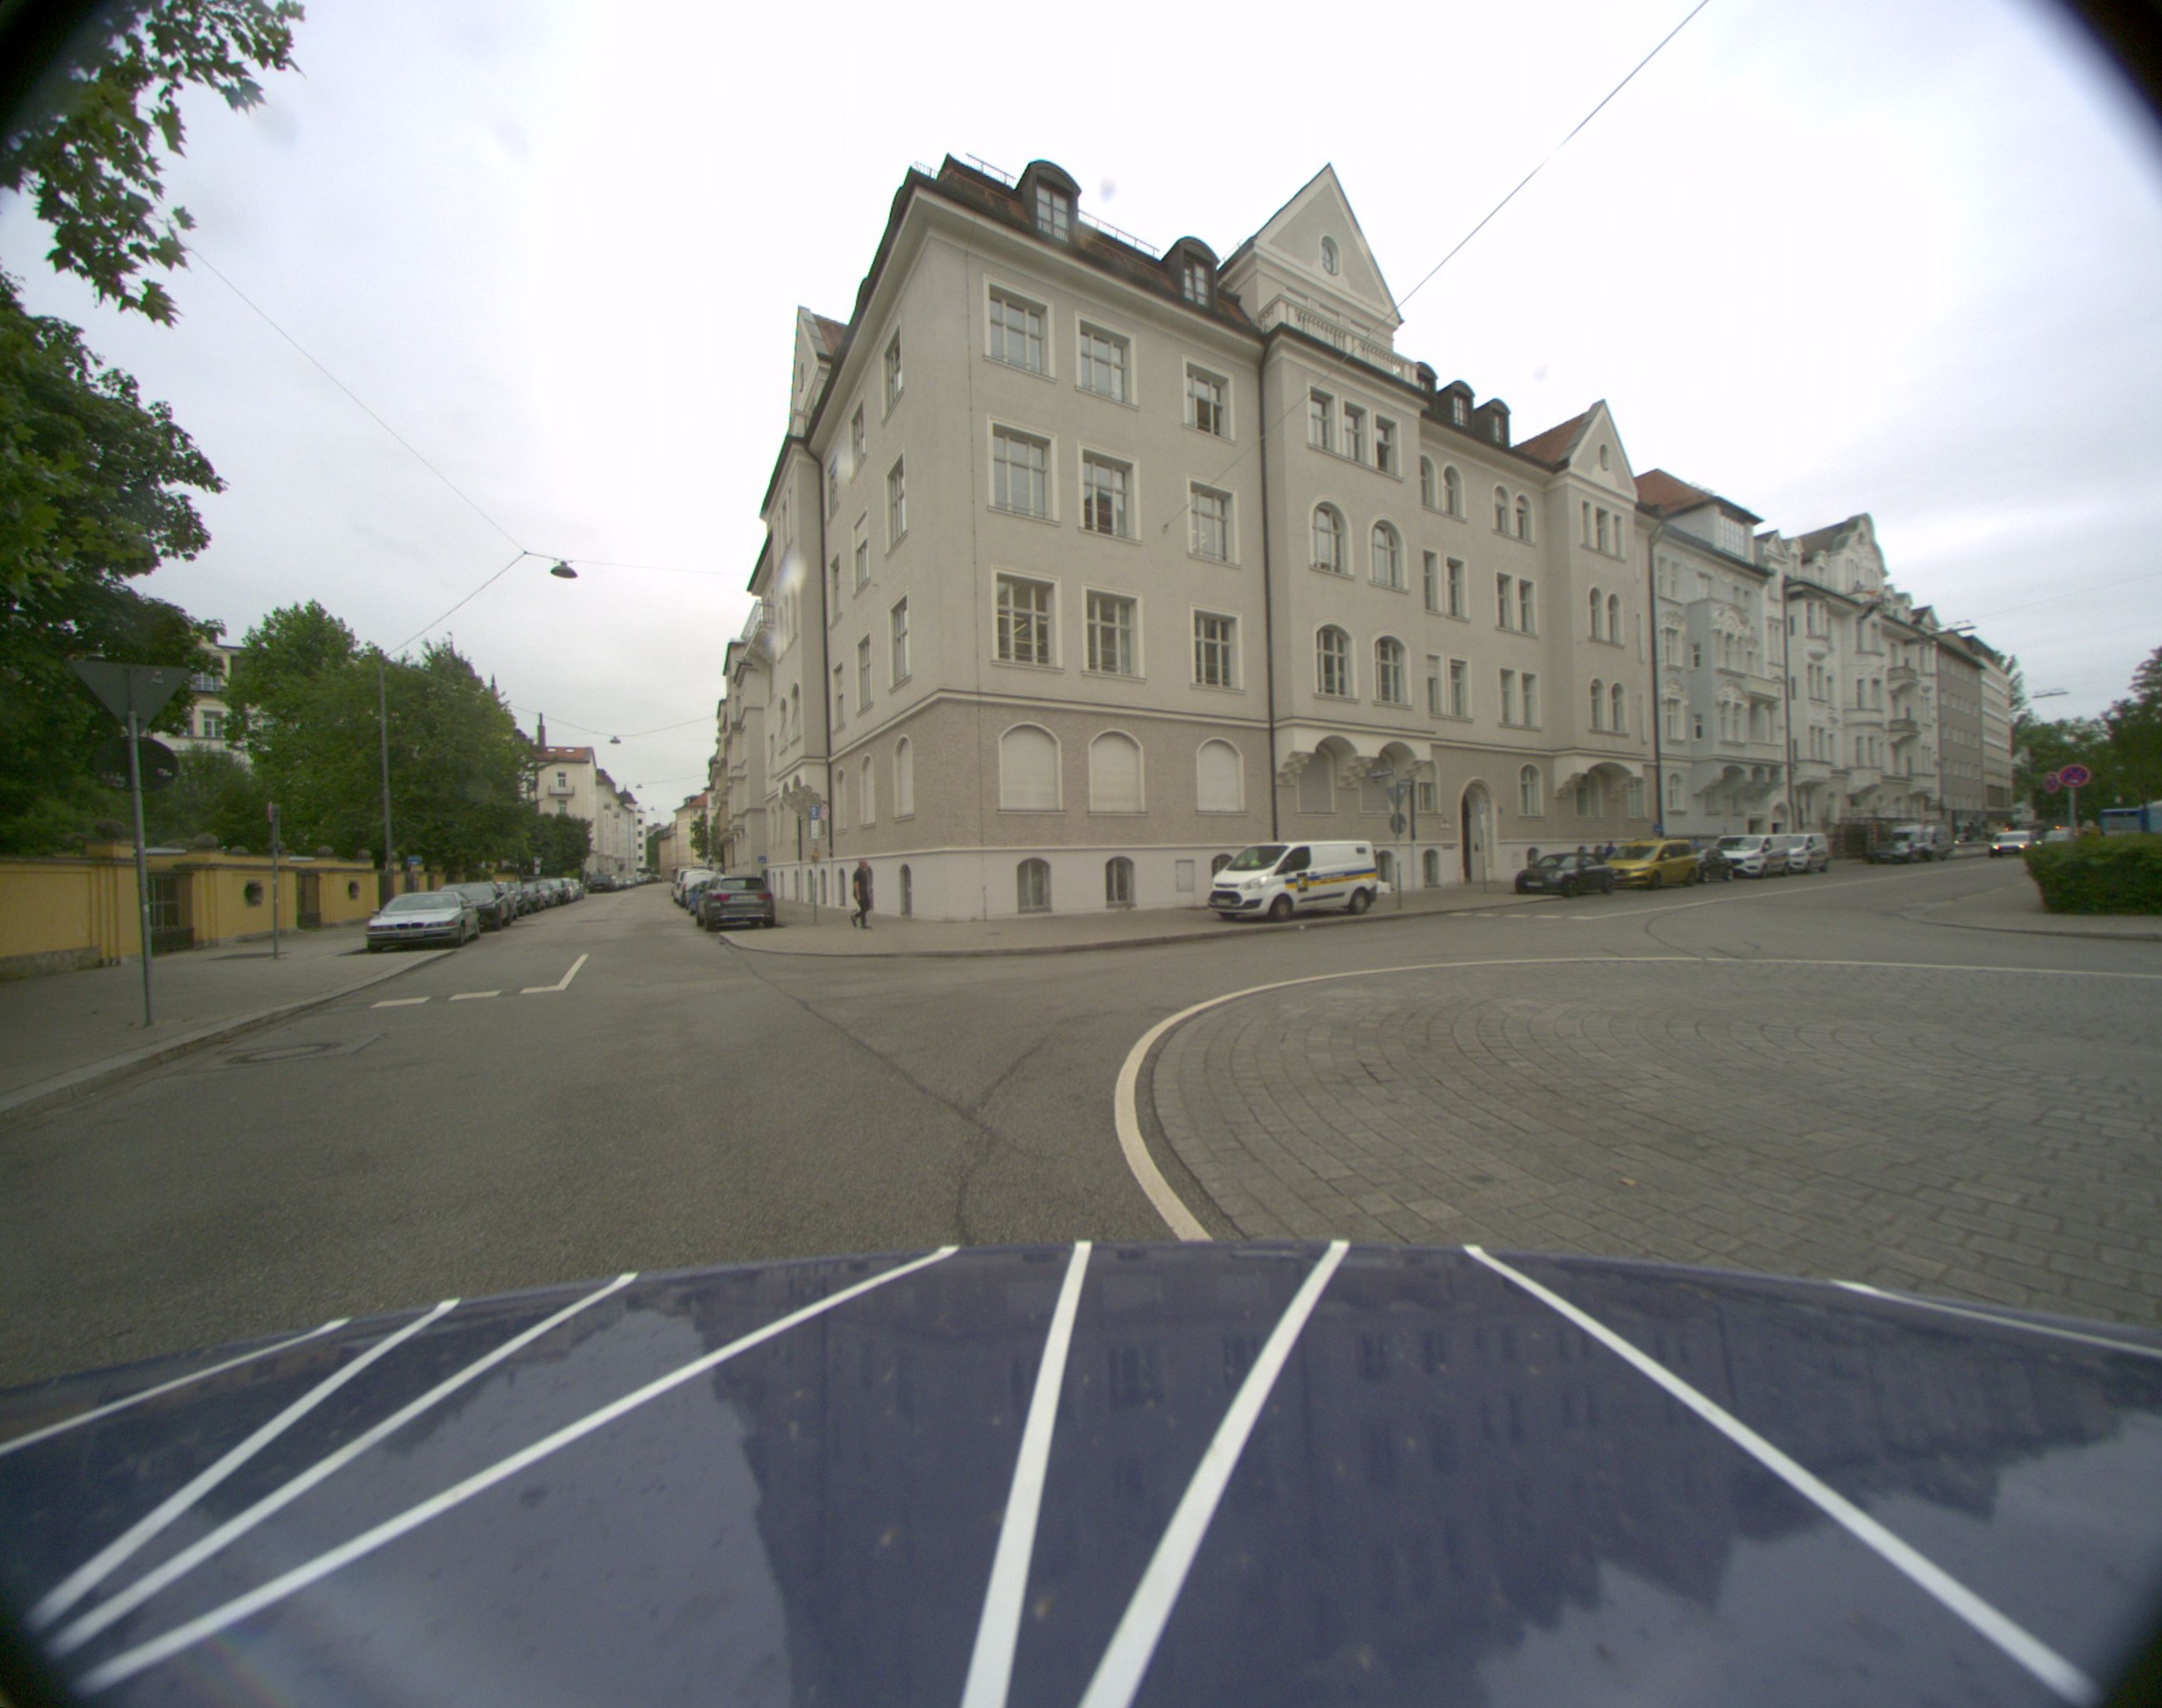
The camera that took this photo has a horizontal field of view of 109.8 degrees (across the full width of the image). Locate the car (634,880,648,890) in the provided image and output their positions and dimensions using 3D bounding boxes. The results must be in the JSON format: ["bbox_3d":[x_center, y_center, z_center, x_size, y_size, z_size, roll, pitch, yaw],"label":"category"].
[{"bbox_3d":[-69.734,4.918,120.387,1.799,1.538,3.602,-2,0,-31],"label":"car"}]

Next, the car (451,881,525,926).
[{"bbox_3d":[-23.167,1.869,29.808,1.799,1.538,3.948,-2,0,-31],"label":"car"}]

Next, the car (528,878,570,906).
[{"bbox_3d":[-31.779,2.237,45.429,1.799,1.538,3.297,-2,0,-31],"label":"car"}]

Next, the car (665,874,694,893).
[{"bbox_3d":[-33.394,2.431,63.144,1.821,1.418,3.831,-2,0,-32],"label":"car"}]

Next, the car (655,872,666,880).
[{"bbox_3d":[-85.095,4.520,153.814,1.799,1.538,3.602,-2,0,-31],"label":"car"}]

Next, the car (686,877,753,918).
[{"bbox_3d":[-14.499,1.684,30.334,1.896,1.396,4.241,-2,0,-32],"label":"car"}]

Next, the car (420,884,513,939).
[{"bbox_3d":[-19.924,1.798,24.795,1.799,1.538,3.948,-2,0,-31],"label":"car"}]

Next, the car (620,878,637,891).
[{"bbox_3d":[-58.735,3.939,98.588,1.799,1.538,3.602,-2,0,-31],"label":"car"}]

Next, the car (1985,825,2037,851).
[{"bbox_3d":[64.682,-1.131,52.823,4.609,1.648,1.916,-2,0,-35],"label":"car"}]

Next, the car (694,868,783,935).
[{"bbox_3d":[-10.549,1.364,23.254,1.895,1.785,4.241,-2,0,-32],"label":"car"}]

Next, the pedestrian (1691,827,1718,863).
[{"bbox_3d":[33.564,-0.458,40.904,0.747,1.892,0.852,-2,1,-29],"label":"pedestrian"}]

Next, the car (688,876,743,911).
[{"bbox_3d":[-16.842,1.764,34.897,1.800,1.396,3.831,-2,0,-32],"label":"car"}]

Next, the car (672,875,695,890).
[{"bbox_3d":[-40.992,2.911,78.319,1.821,1.418,3.831,-2,0,-32],"label":"car"}]

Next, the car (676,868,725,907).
[{"bbox_3d":[-19.290,1.651,38.420,1.800,1.773,3.831,-2,0,-32],"label":"car"}]

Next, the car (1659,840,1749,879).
[{"bbox_3d":[25.935,0.218,31.601,3.891,1.505,1.635,-2,0,-31],"label":"car"}]

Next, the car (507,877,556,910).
[{"bbox_3d":[-29.123,2.061,40.323,1.799,1.538,3.297,-2,0,-31],"label":"car"}]

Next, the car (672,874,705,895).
[{"bbox_3d":[-28.873,2.191,55.812,1.821,1.418,3.831,-2,0,-32],"label":"car"}]

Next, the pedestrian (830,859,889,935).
[{"bbox_3d":[-5.423,1.036,18.637,0.928,1.790,1.001,-2,0,19],"label":"pedestrian"}]

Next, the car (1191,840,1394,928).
[{"bbox_3d":[5.550,0.663,19.615,5.383,1.911,1.940,-2,1,-33],"label":"car"}]

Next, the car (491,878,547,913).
[{"bbox_3d":[-26.834,1.941,36.357,1.799,1.538,3.297,-2,0,-31],"label":"car"}]

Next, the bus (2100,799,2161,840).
[{"bbox_3d":[90.536,-2.968,65.390,18.088,3.194,3.173,-2,2,-36],"label":"bus"}]

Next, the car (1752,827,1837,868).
[{"bbox_3d":[35.875,-0.337,38.170,4.886,1.907,1.995,-2,0,-33],"label":"car"}]

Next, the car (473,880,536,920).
[{"bbox_3d":[-25.125,1.948,33.208,1.799,1.538,3.297,-2,0,-31],"label":"car"}]

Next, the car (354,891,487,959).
[{"bbox_3d":[-16.933,1.738,19.720,1.804,1.360,4.455,-2,0,-31],"label":"car"}]

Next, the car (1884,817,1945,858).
[{"bbox_3d":[56.938,-1.161,51.894,5.454,2.673,2.078,-2,2,-35],"label":"car"}]

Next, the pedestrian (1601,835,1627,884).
[{"bbox_3d":[22.317,0.218,31.800,0.728,2.002,0.584,-2,0,-29],"label":"pedestrian"}]

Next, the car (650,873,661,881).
[{"bbox_3d":[-83.261,4.438,148.617,1.799,1.538,3.602,-2,0,-31],"label":"car"}]

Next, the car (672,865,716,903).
[{"bbox_3d":[-22.343,1.692,43.773,1.821,2.023,4.025,-2,0,-32],"label":"car"}]

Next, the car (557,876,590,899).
[{"bbox_3d":[-36.658,2.410,54.946,1.799,1.538,3.297,-2,0,-31],"label":"car"}]

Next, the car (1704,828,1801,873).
[{"bbox_3d":[30.772,-0.169,34.770,4.894,1.907,1.995,-2,0,-32],"label":"car"}]

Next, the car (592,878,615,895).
[{"bbox_3d":[-46.747,3.141,74.421,1.799,1.538,3.602,-2,0,-31],"label":"car"}]

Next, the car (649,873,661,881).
[{"bbox_3d":[-80.994,4.330,144.366,1.799,1.538,3.602,-2,0,-31],"label":"car"}]

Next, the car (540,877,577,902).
[{"bbox_3d":[-34.521,2.322,50.269,1.799,1.538,3.297,-2,0,-31],"label":"car"}]

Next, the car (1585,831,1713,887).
[{"bbox_3d":[21.444,0.153,28.671,4.577,1.907,1.996,-2,0,-27],"label":"car"}]

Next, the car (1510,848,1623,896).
[{"bbox_3d":[16.574,0.568,25.904,3.833,1.436,1.714,-2,0,-31],"label":"car"}]
